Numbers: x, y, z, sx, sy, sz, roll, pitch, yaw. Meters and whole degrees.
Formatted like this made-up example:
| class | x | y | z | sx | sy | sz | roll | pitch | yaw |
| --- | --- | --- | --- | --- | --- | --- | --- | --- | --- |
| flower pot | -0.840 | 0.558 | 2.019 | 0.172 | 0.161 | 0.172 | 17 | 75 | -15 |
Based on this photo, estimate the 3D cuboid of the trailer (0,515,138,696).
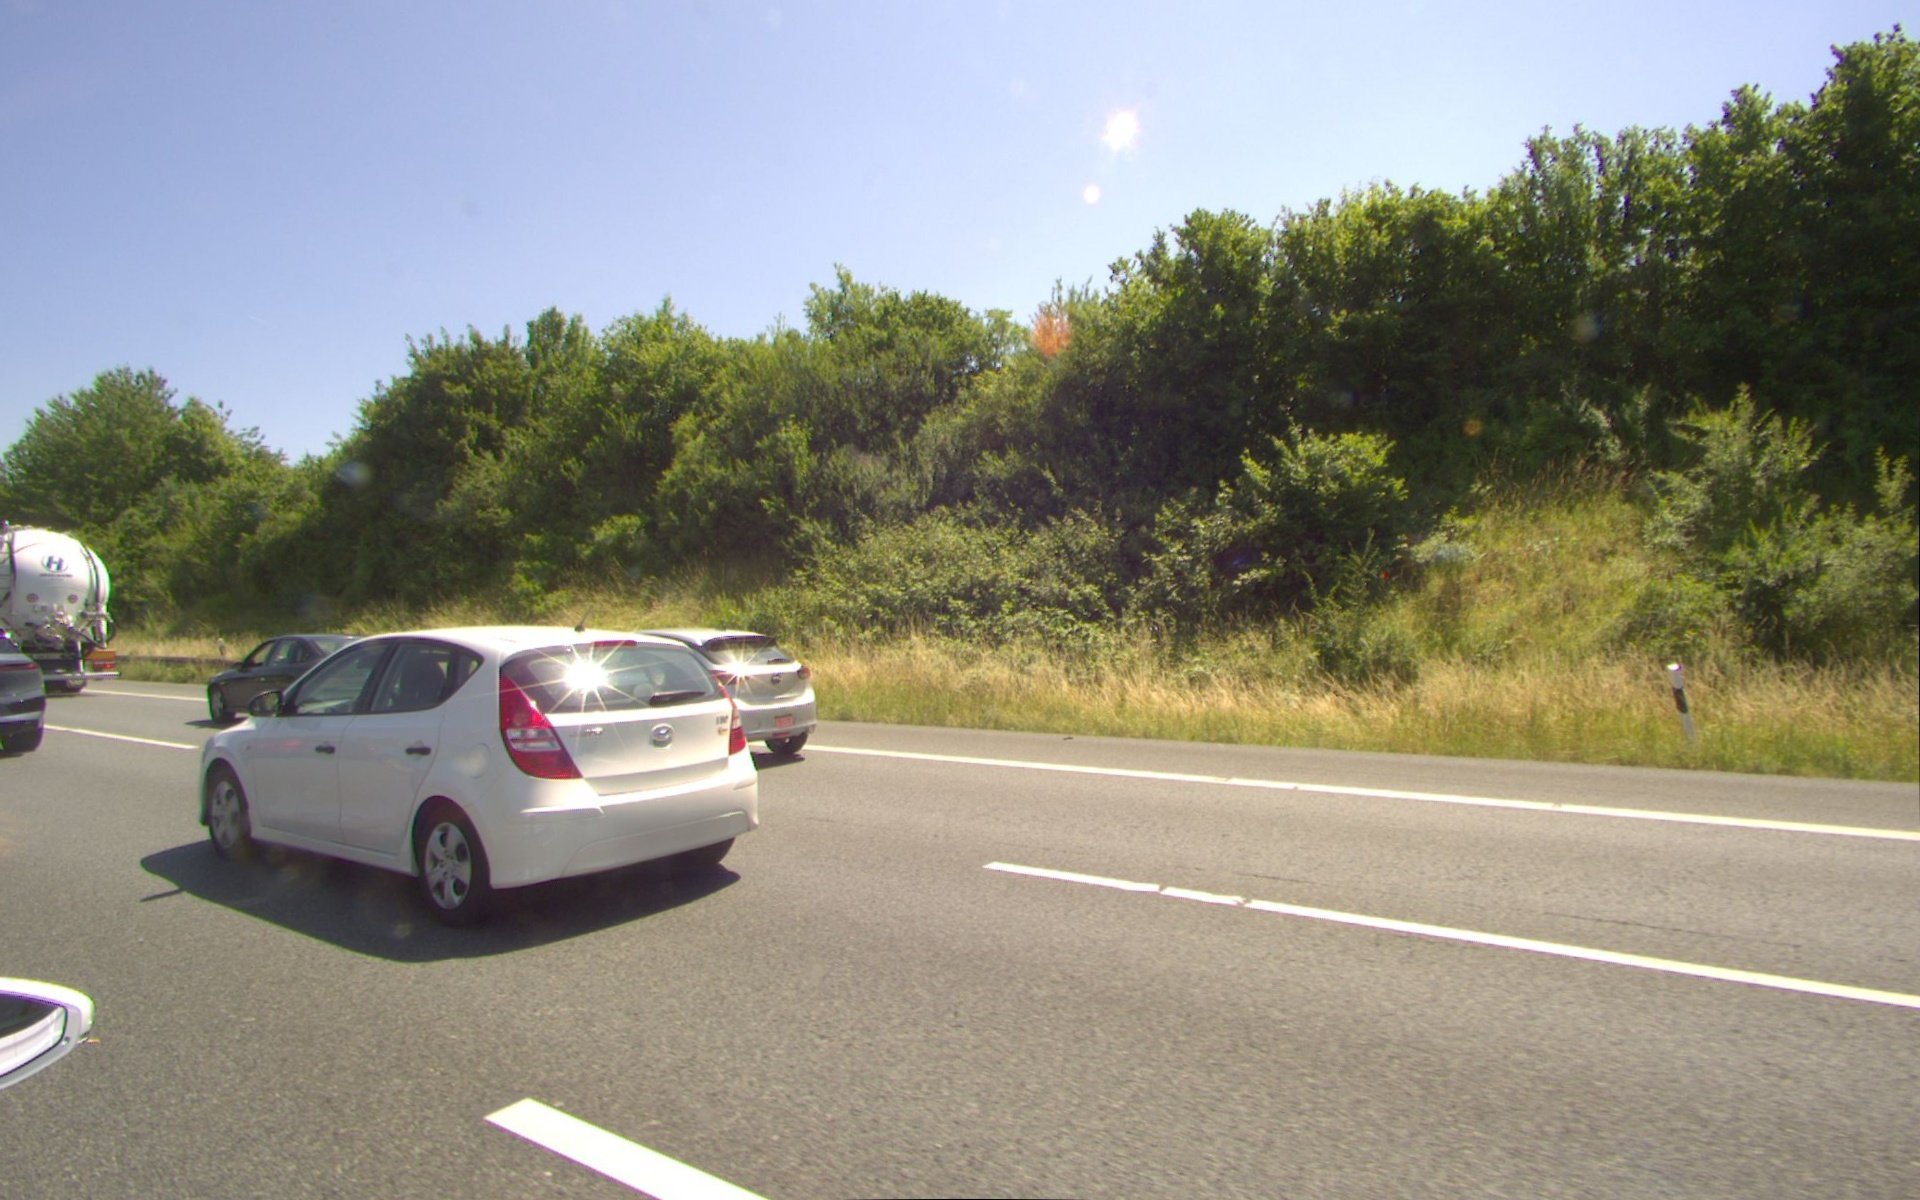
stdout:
| class | x | y | z | sx | sy | sz | roll | pitch | yaw |
| --- | --- | --- | --- | --- | --- | --- | --- | --- | --- |
| trailer | -24.969 | 0.218 | 25.585 | 11.323 | 3.895 | 2.755 | -1 | -1 | 33 |

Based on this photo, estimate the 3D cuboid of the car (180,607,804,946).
| class | x | y | z | sx | sy | sz | roll | pitch | yaw |
| --- | --- | --- | --- | --- | --- | --- | --- | --- | --- |
| car | -3.067 | 0.849 | 6.325 | 3.946 | 1.504 | 1.812 | -2 | -1 | 34 |

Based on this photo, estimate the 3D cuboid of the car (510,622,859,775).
| class | x | y | z | sx | sy | sz | roll | pitch | yaw |
| --- | --- | --- | --- | --- | --- | --- | --- | --- | --- |
| car | -3.268 | 1.005 | 11.653 | 3.971 | 1.462 | 1.727 | 0 | 0 | 33 |

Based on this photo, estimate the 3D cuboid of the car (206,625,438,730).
| class | x | y | z | sx | sy | sz | roll | pitch | yaw |
| --- | --- | --- | --- | --- | --- | --- | --- | --- | --- |
| car | -10.188 | 1.167 | 15.918 | 3.934 | 1.435 | 1.637 | -2 | 0 | 34 |

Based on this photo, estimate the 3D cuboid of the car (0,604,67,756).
| class | x | y | z | sx | sy | sz | roll | pitch | yaw |
| --- | --- | --- | --- | --- | --- | --- | --- | --- | --- |
| car | -13.124 | 0.980 | 12.397 | 4.562 | 1.737 | 1.995 | -2 | -1 | 34 |
